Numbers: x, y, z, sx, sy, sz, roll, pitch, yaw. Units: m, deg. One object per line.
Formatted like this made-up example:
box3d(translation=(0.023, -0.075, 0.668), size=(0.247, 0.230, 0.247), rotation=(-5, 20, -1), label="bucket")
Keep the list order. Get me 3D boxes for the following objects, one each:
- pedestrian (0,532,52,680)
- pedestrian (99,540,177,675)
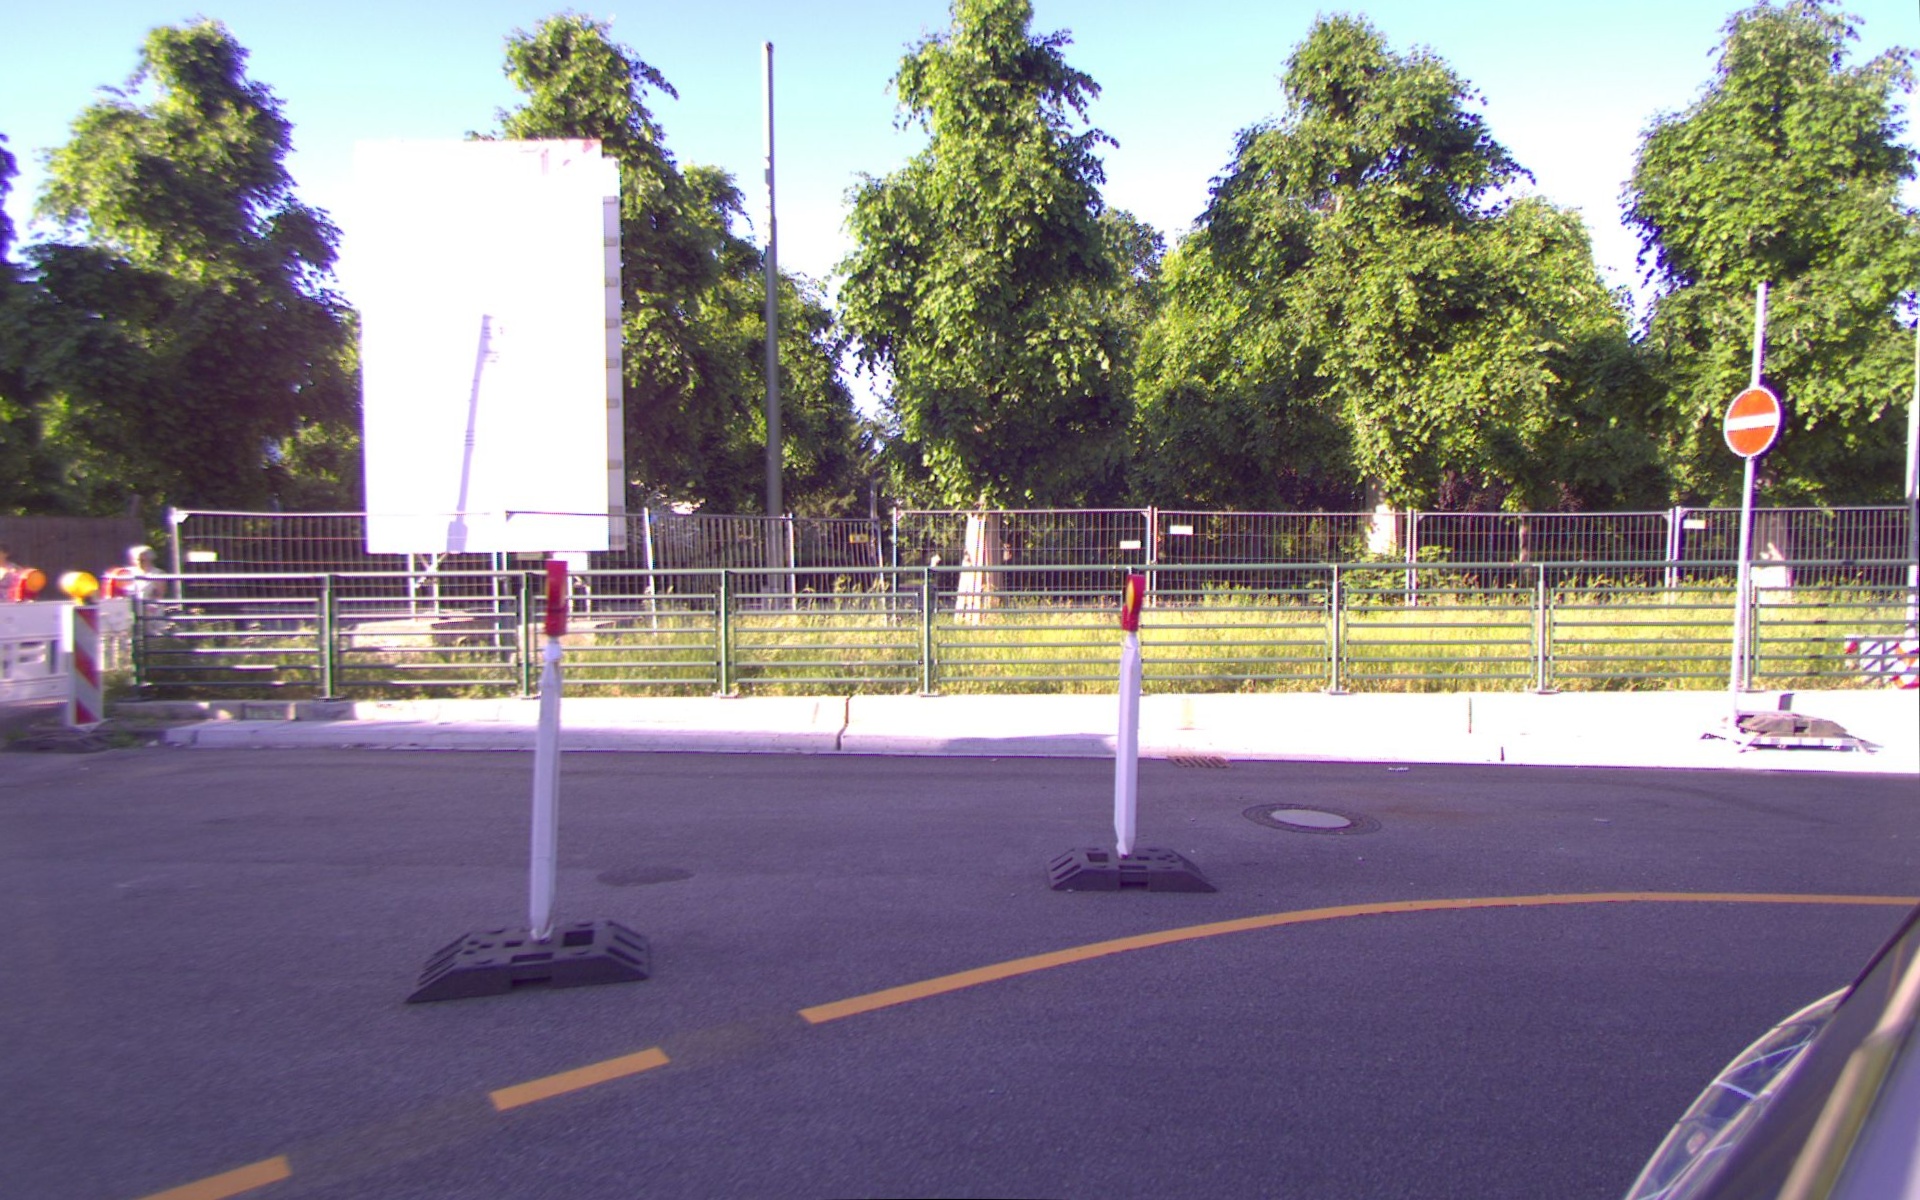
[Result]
box3d(translation=(-10.846, 0.053, 11.341), size=(0.632, 1.623, 0.739), rotation=(1, 3, 5), label="pedestrian")
box3d(translation=(-10.108, 0.063, 12.445), size=(0.655, 1.585, 0.743), rotation=(-2, 4, -45), label="pedestrian")
